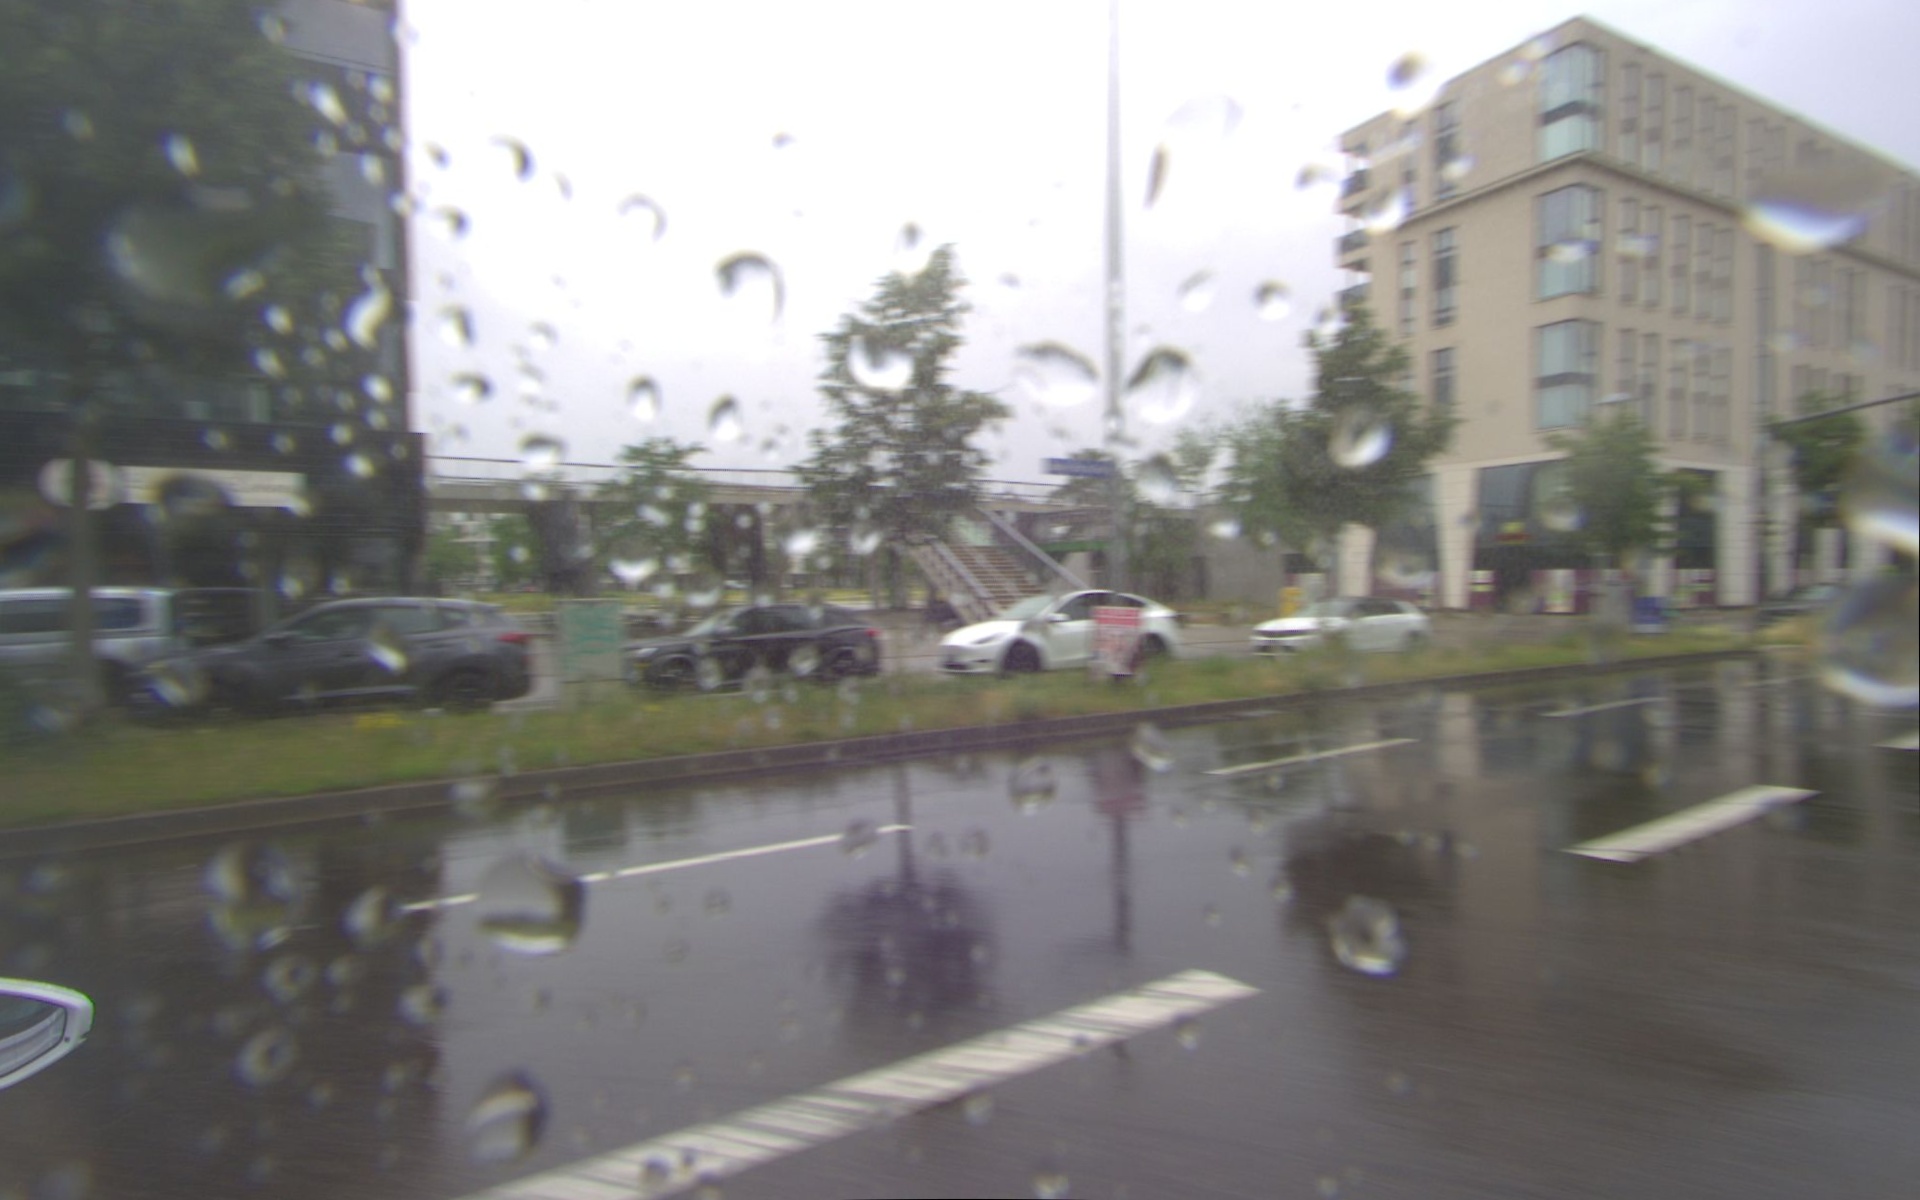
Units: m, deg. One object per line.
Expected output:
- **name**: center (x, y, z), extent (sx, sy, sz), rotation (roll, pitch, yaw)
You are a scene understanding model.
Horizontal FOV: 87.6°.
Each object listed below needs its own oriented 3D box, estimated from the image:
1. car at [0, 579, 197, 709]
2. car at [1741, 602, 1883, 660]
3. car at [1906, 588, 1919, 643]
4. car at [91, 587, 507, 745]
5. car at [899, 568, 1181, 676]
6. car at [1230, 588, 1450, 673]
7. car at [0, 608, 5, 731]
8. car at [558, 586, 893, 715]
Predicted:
- **car**: center (-14.645, 0.621, 15.214), extent (4.658, 1.891, 1.888), rotation (1, 0, -32)
- **car**: center (27.863, 0.999, 32.726), extent (4.769, 1.730, 1.989), rotation (1, 0, -30)
- **car**: center (37.971, 0.625, 38.152), extent (3.947, 2.040, 1.904), rotation (1, 0, -34)
- **car**: center (-8.196, 0.756, 12.879), extent (4.157, 1.730, 1.989), rotation (1, 0, -29)
- **car**: center (1.480, 0.393, 18.013), extent (4.769, 1.730, 1.989), rotation (1, 0, -30)
- **car**: center (8.518, 0.657, 22.379), extent (4.769, 1.730, 1.989), rotation (1, 0, -30)
- **car**: center (-13.242, 0.870, 10.048), extent (4.885, 1.474, 1.990), rotation (-1, 1, -28)
- **car**: center (-3.575, 0.709, 15.435), extent (4.656, 1.730, 1.989), rotation (1, 0, -30)
